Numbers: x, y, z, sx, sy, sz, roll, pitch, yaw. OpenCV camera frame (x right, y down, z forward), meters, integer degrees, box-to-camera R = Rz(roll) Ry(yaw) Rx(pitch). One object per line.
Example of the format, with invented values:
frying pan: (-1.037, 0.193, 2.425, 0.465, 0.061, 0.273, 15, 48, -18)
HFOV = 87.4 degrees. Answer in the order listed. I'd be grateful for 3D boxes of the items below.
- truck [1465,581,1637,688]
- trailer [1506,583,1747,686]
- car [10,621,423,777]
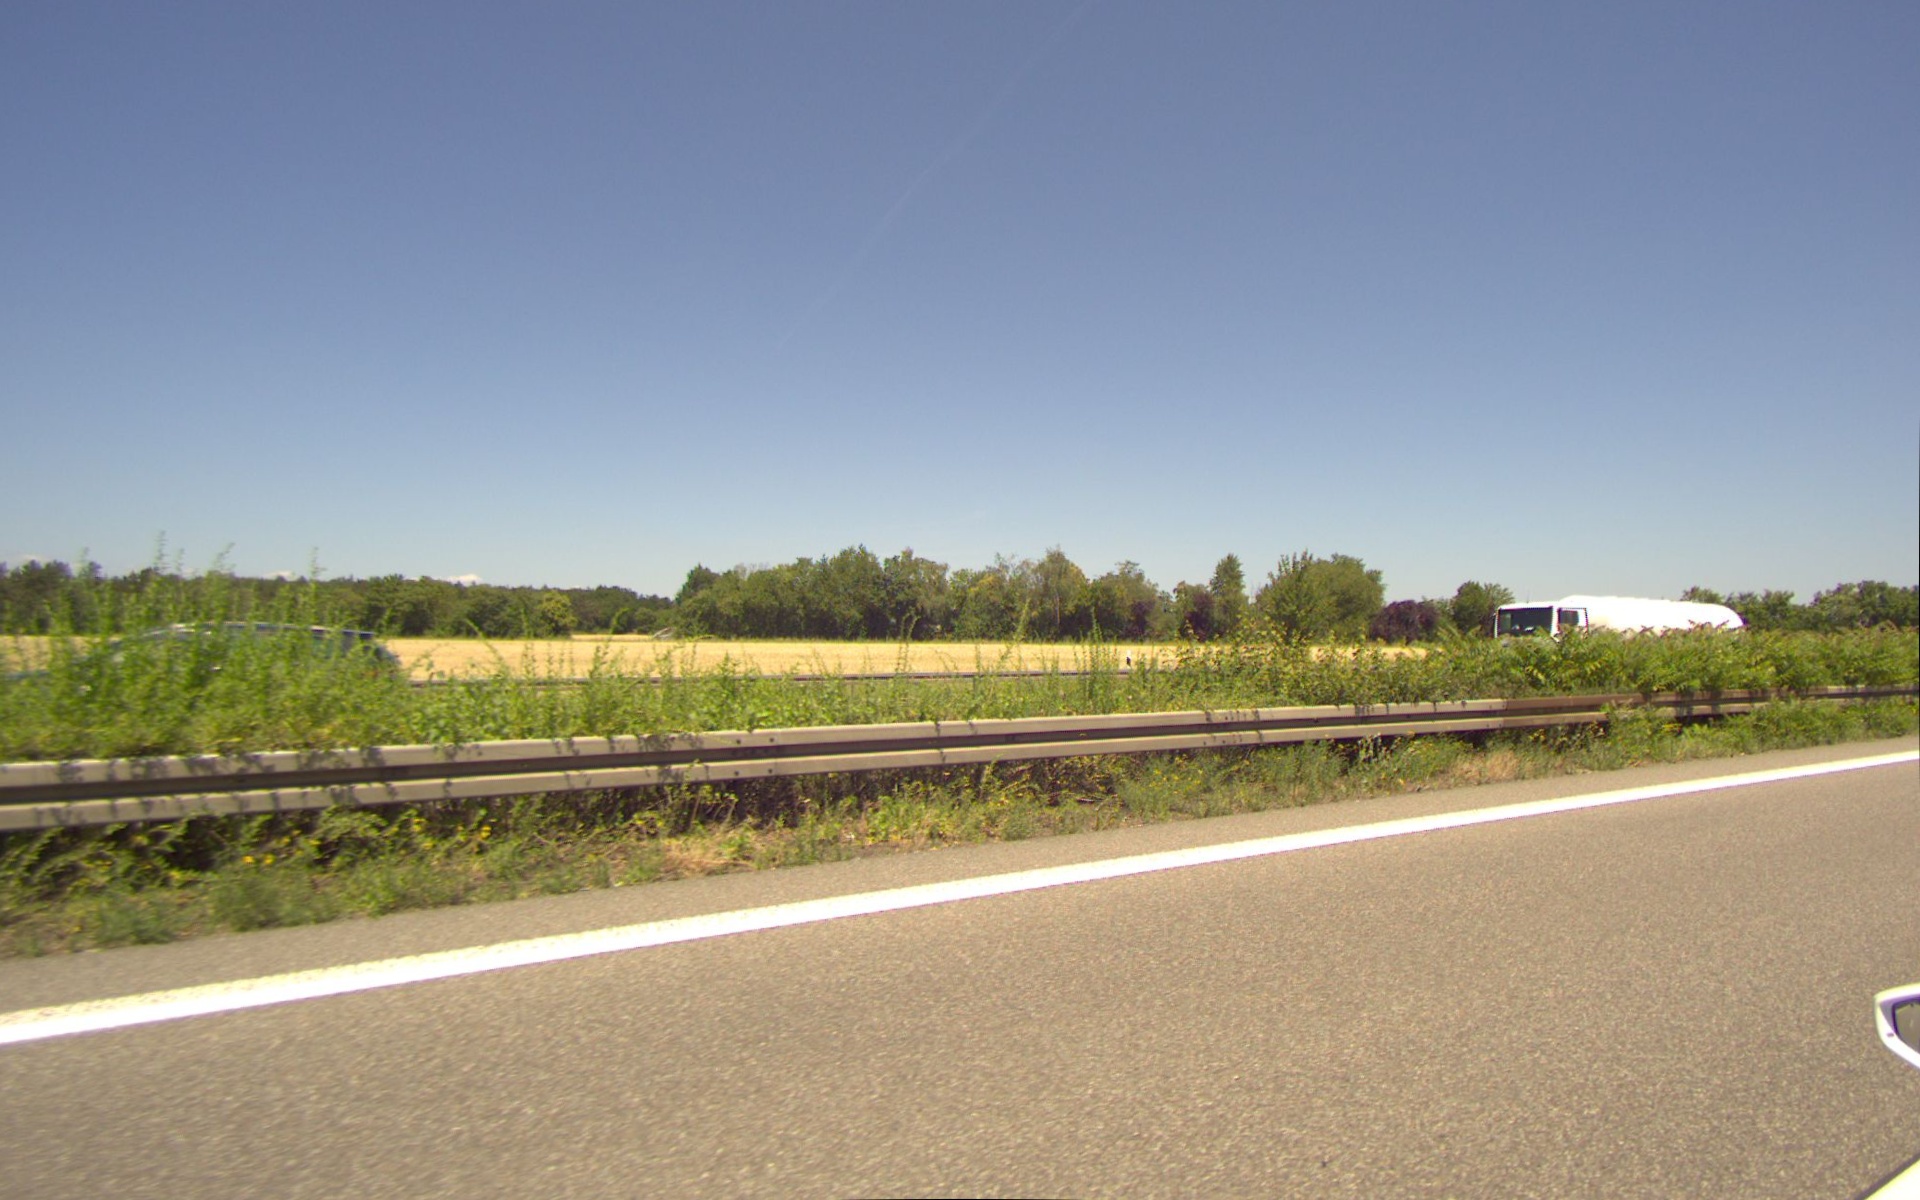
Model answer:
truck: (21.339, 1.222, 36.251, 5.372, 3.563, 3.212, 2, -1, -31)
trailer: (26.232, 1.361, 39.213, 11.635, 3.563, 3.211, 2, -1, -31)
car: (-9.096, 1.155, 12.768, 3.953, 1.706, 1.797, 1, -2, -30)
